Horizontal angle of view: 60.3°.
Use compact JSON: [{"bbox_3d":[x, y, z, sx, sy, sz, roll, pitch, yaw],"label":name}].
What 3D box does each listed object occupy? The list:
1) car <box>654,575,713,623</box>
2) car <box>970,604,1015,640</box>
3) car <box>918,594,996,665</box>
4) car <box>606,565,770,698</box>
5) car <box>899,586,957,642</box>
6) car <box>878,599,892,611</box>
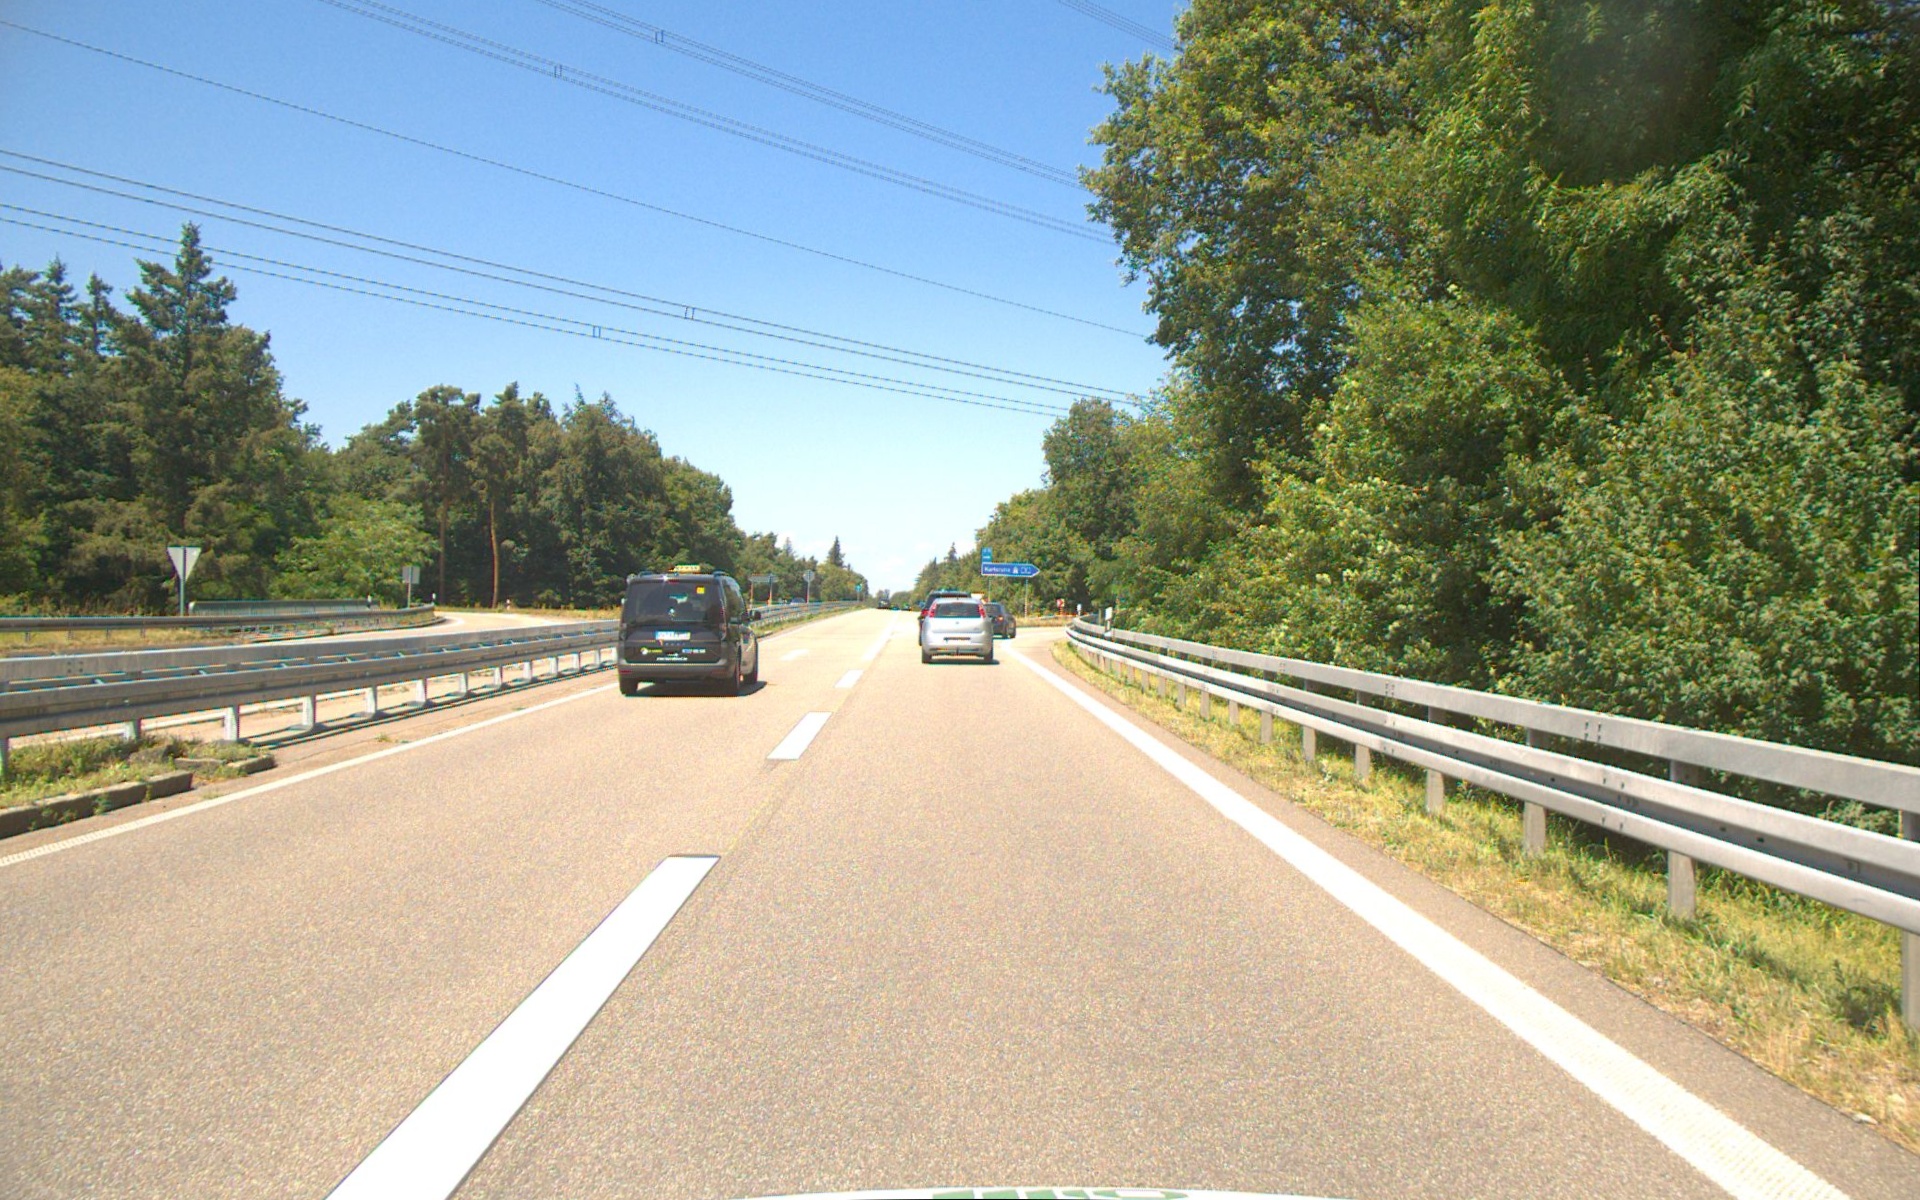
[{"bbox_3d":[-16.150,-0.065,96.975,2.474,2.664,7.182,-1,0,-2],"label":"car"},{"bbox_3d":[1.333,0.870,67.542,1.606,1.366,3.576,3,0,4],"label":"car"},{"bbox_3d":[-0.117,0.659,38.589,1.607,1.493,3.417,3,0,-3],"label":"car"},{"bbox_3d":[-4.259,0.449,26.745,1.817,1.920,5.572,0,0,-1],"label":"car"},{"bbox_3d":[-1.012,0.437,53.618,1.606,1.682,3.575,3,0,2],"label":"car"},{"bbox_3d":[-10.030,0.642,222.170,1.678,1.497,3.573,3,0,-1],"label":"car"}]
